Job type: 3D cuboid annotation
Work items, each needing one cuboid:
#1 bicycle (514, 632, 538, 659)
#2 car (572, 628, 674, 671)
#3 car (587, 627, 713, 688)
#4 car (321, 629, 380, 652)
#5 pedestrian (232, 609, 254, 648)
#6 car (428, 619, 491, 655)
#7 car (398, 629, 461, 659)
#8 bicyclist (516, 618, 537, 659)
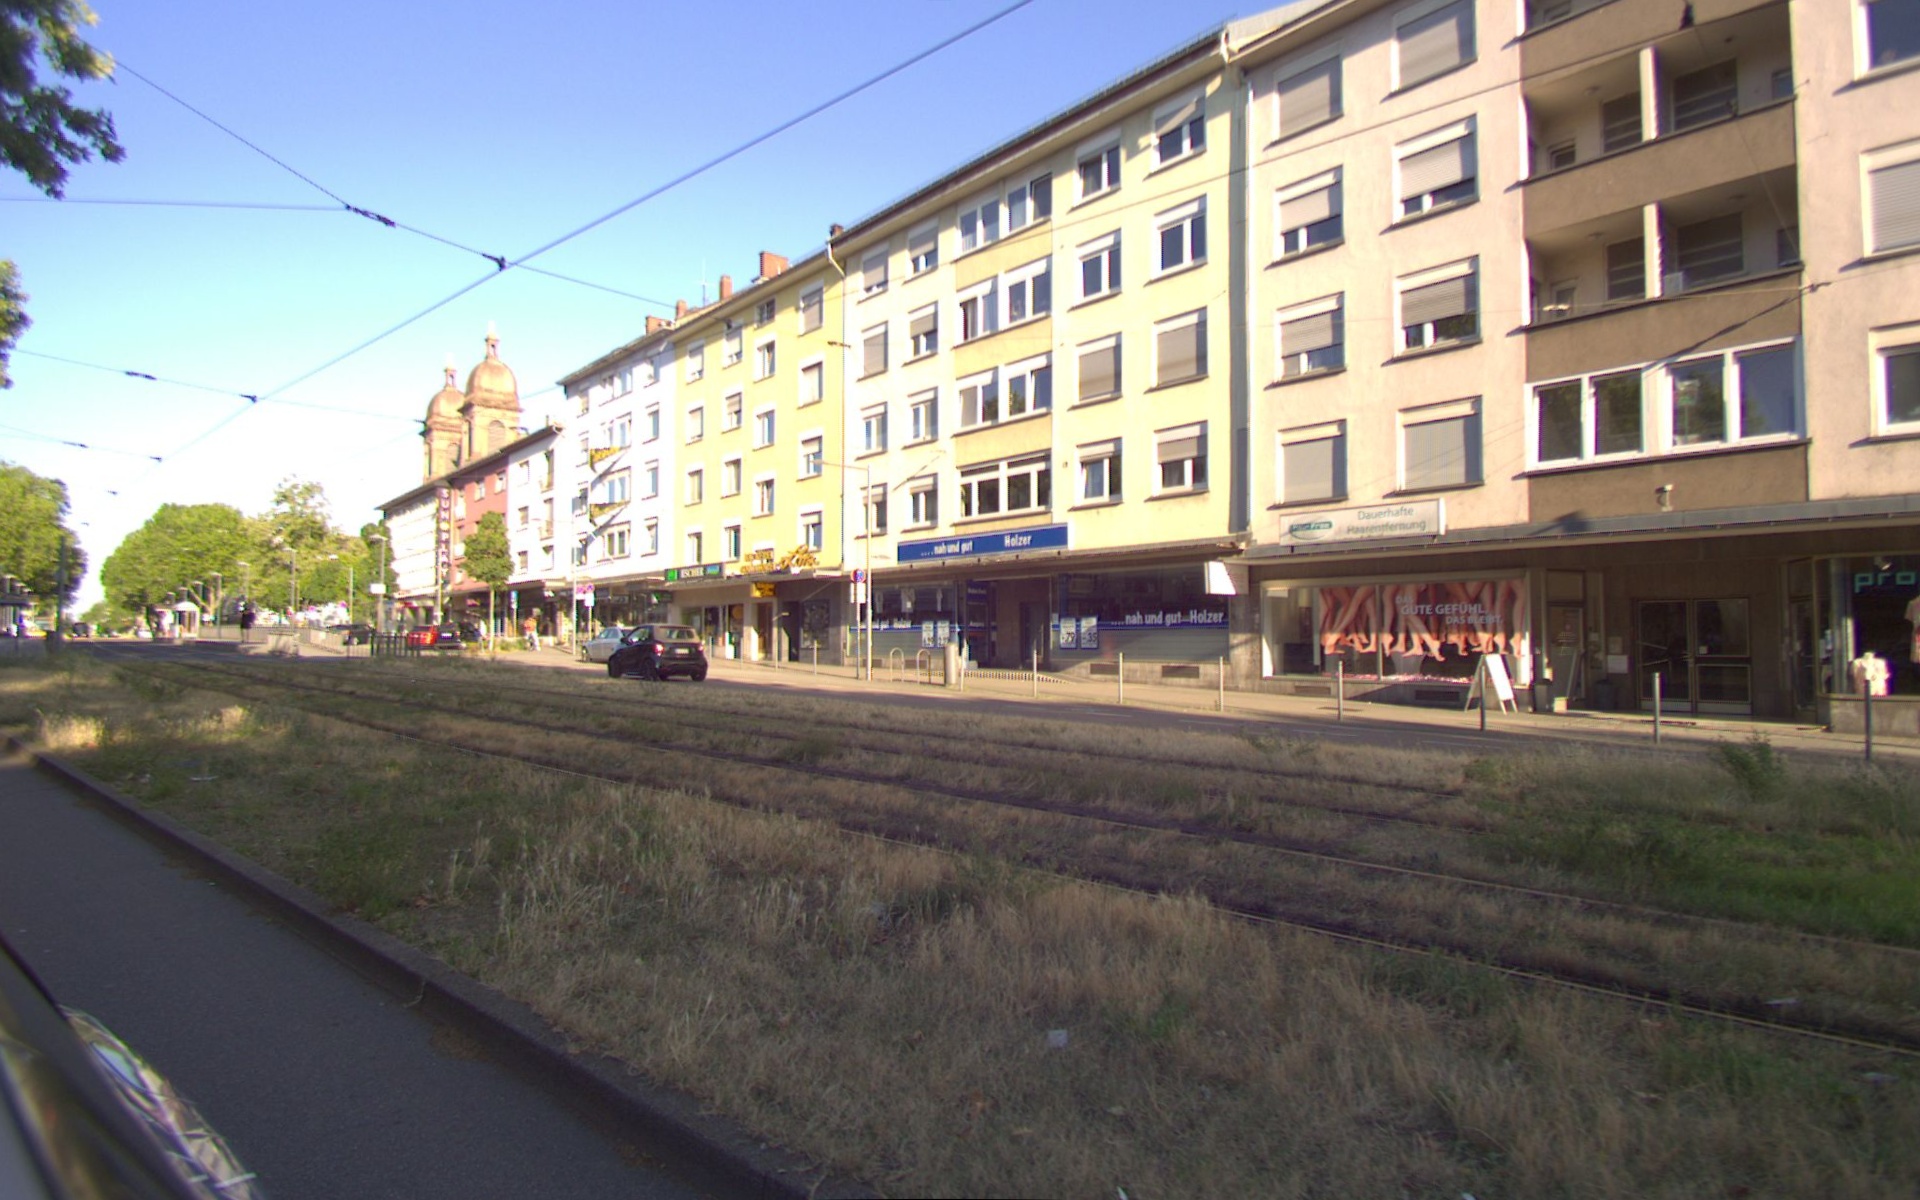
[{"bbox_3d":[-21.755,2.254,50.725,0.696,1.167,2.204,-4,3,-33],"label":"bicycle"},{"bbox_3d":[-12.973,1.858,38.814,1.971,1.489,4.413,0,-1,-45],"label":"car"},{"bbox_3d":[-8.427,1.506,27.408,3.475,1.520,1.704,-1,-2,42],"label":"car"},{"bbox_3d":[-44.462,2.924,73.917,1.845,1.541,3.996,-1,0,3],"label":"car"},{"bbox_3d":[-34.311,1.375,48.422,0.590,1.863,0.733,-2,-3,42],"label":"pedestrian"},{"bbox_3d":[-28.098,2.037,56.897,1.836,1.813,3.773,-1,0,-4],"label":"car"},{"bbox_3d":[-30.691,2.514,58.620,1.836,1.502,3.773,-1,0,-4],"label":"car"},{"bbox_3d":[-21.611,1.904,50.462,0.683,1.900,1.061,-4,3,-33],"label":"bicyclist"}]
